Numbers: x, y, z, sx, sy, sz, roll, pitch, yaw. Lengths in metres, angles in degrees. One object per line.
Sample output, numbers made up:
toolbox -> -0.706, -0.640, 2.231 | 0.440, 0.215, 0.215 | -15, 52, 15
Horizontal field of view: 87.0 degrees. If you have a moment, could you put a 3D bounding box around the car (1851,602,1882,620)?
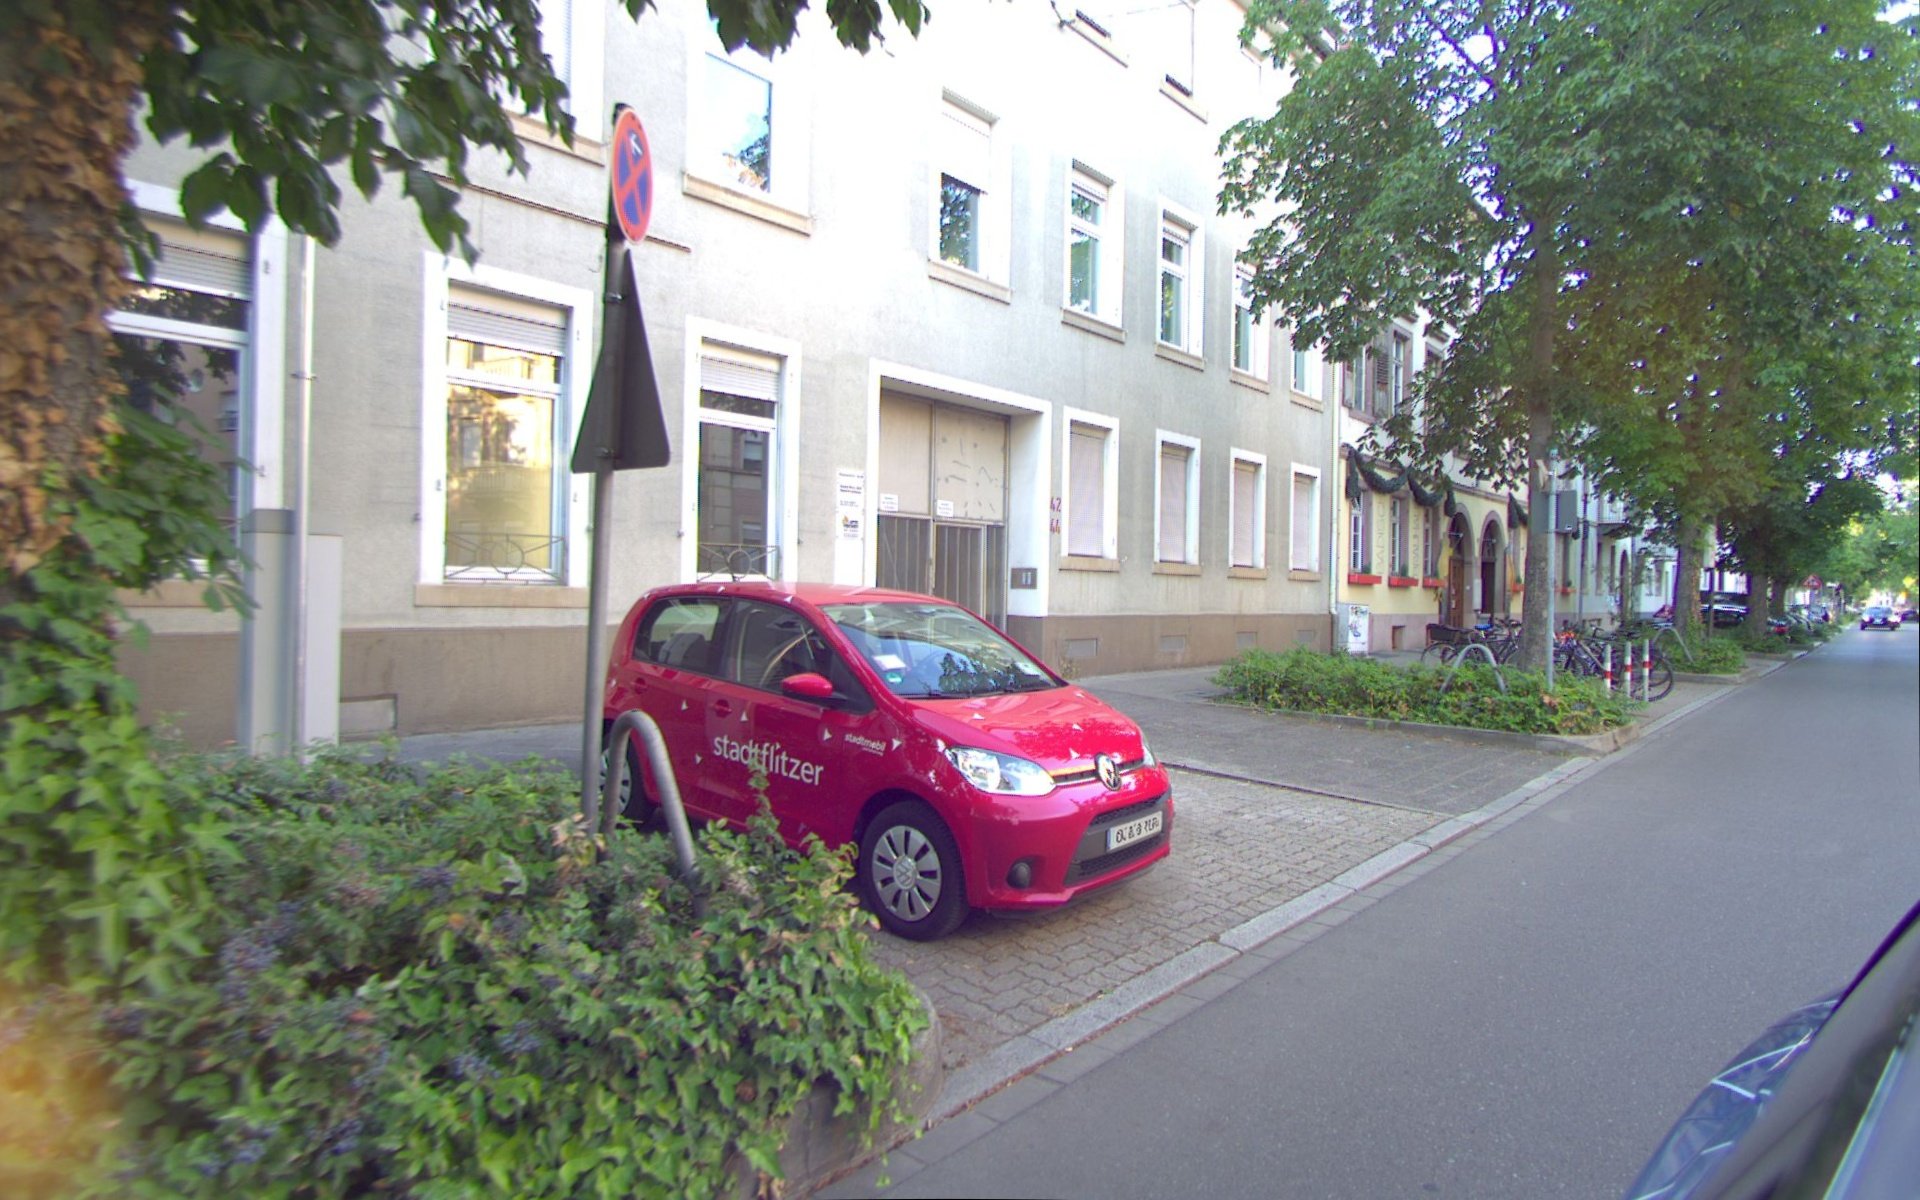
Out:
car -> 75.420, 0.883, 84.152 | 1.822, 1.389, 3.938 | 2, 1, 43

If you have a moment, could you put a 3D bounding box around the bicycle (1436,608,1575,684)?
bicycle -> 9.230, 0.746, 17.187 | 2.035, 1.160, 0.415 | 2, 1, 43

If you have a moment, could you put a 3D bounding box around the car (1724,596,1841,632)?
car -> 41.645, 0.692, 51.301 | 1.748, 1.633, 4.434 | 1, 1, -45

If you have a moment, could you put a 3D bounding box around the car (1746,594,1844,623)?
car -> 50.453, 0.499, 61.176 | 1.748, 1.633, 4.434 | 1, 1, -45

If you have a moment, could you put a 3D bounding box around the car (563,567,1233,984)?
car -> -0.558, 0.608, 5.543 | 3.654, 1.494, 1.542 | 3, 2, 42

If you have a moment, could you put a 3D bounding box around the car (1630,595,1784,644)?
car -> 28.018, 0.692, 38.063 | 1.748, 1.633, 4.434 | 1, 1, -45

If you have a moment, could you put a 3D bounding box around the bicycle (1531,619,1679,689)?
bicycle -> 10.707, 0.869, 16.867 | 2.035, 1.016, 0.415 | 2, 1, 43

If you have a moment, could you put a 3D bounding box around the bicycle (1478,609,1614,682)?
bicycle -> 10.330, 0.770, 17.895 | 2.035, 1.160, 0.415 | 2, 1, 43

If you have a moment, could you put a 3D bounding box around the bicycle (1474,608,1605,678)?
bicycle -> 10.590, 0.759, 18.561 | 2.035, 1.160, 0.415 | 2, 1, 43

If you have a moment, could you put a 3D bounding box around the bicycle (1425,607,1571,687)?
bicycle -> 8.663, 0.723, 16.382 | 0.439, 1.160, 2.038 | 1, 1, -42

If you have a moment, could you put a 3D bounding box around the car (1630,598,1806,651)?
car -> 24.940, 0.755, 33.407 | 1.748, 1.524, 4.434 | 1, 1, -45

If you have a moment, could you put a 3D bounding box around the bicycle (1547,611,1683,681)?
bicycle -> 12.016, 0.814, 18.621 | 2.035, 1.160, 0.415 | 2, 1, 43

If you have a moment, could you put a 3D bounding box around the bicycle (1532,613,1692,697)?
bicycle -> 10.065, 0.820, 15.692 | 2.036, 1.160, 0.439 | 2, 1, 45

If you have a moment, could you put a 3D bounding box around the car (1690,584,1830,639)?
car -> 33.427, 0.448, 42.381 | 1.748, 2.150, 4.434 | 1, 0, -45
